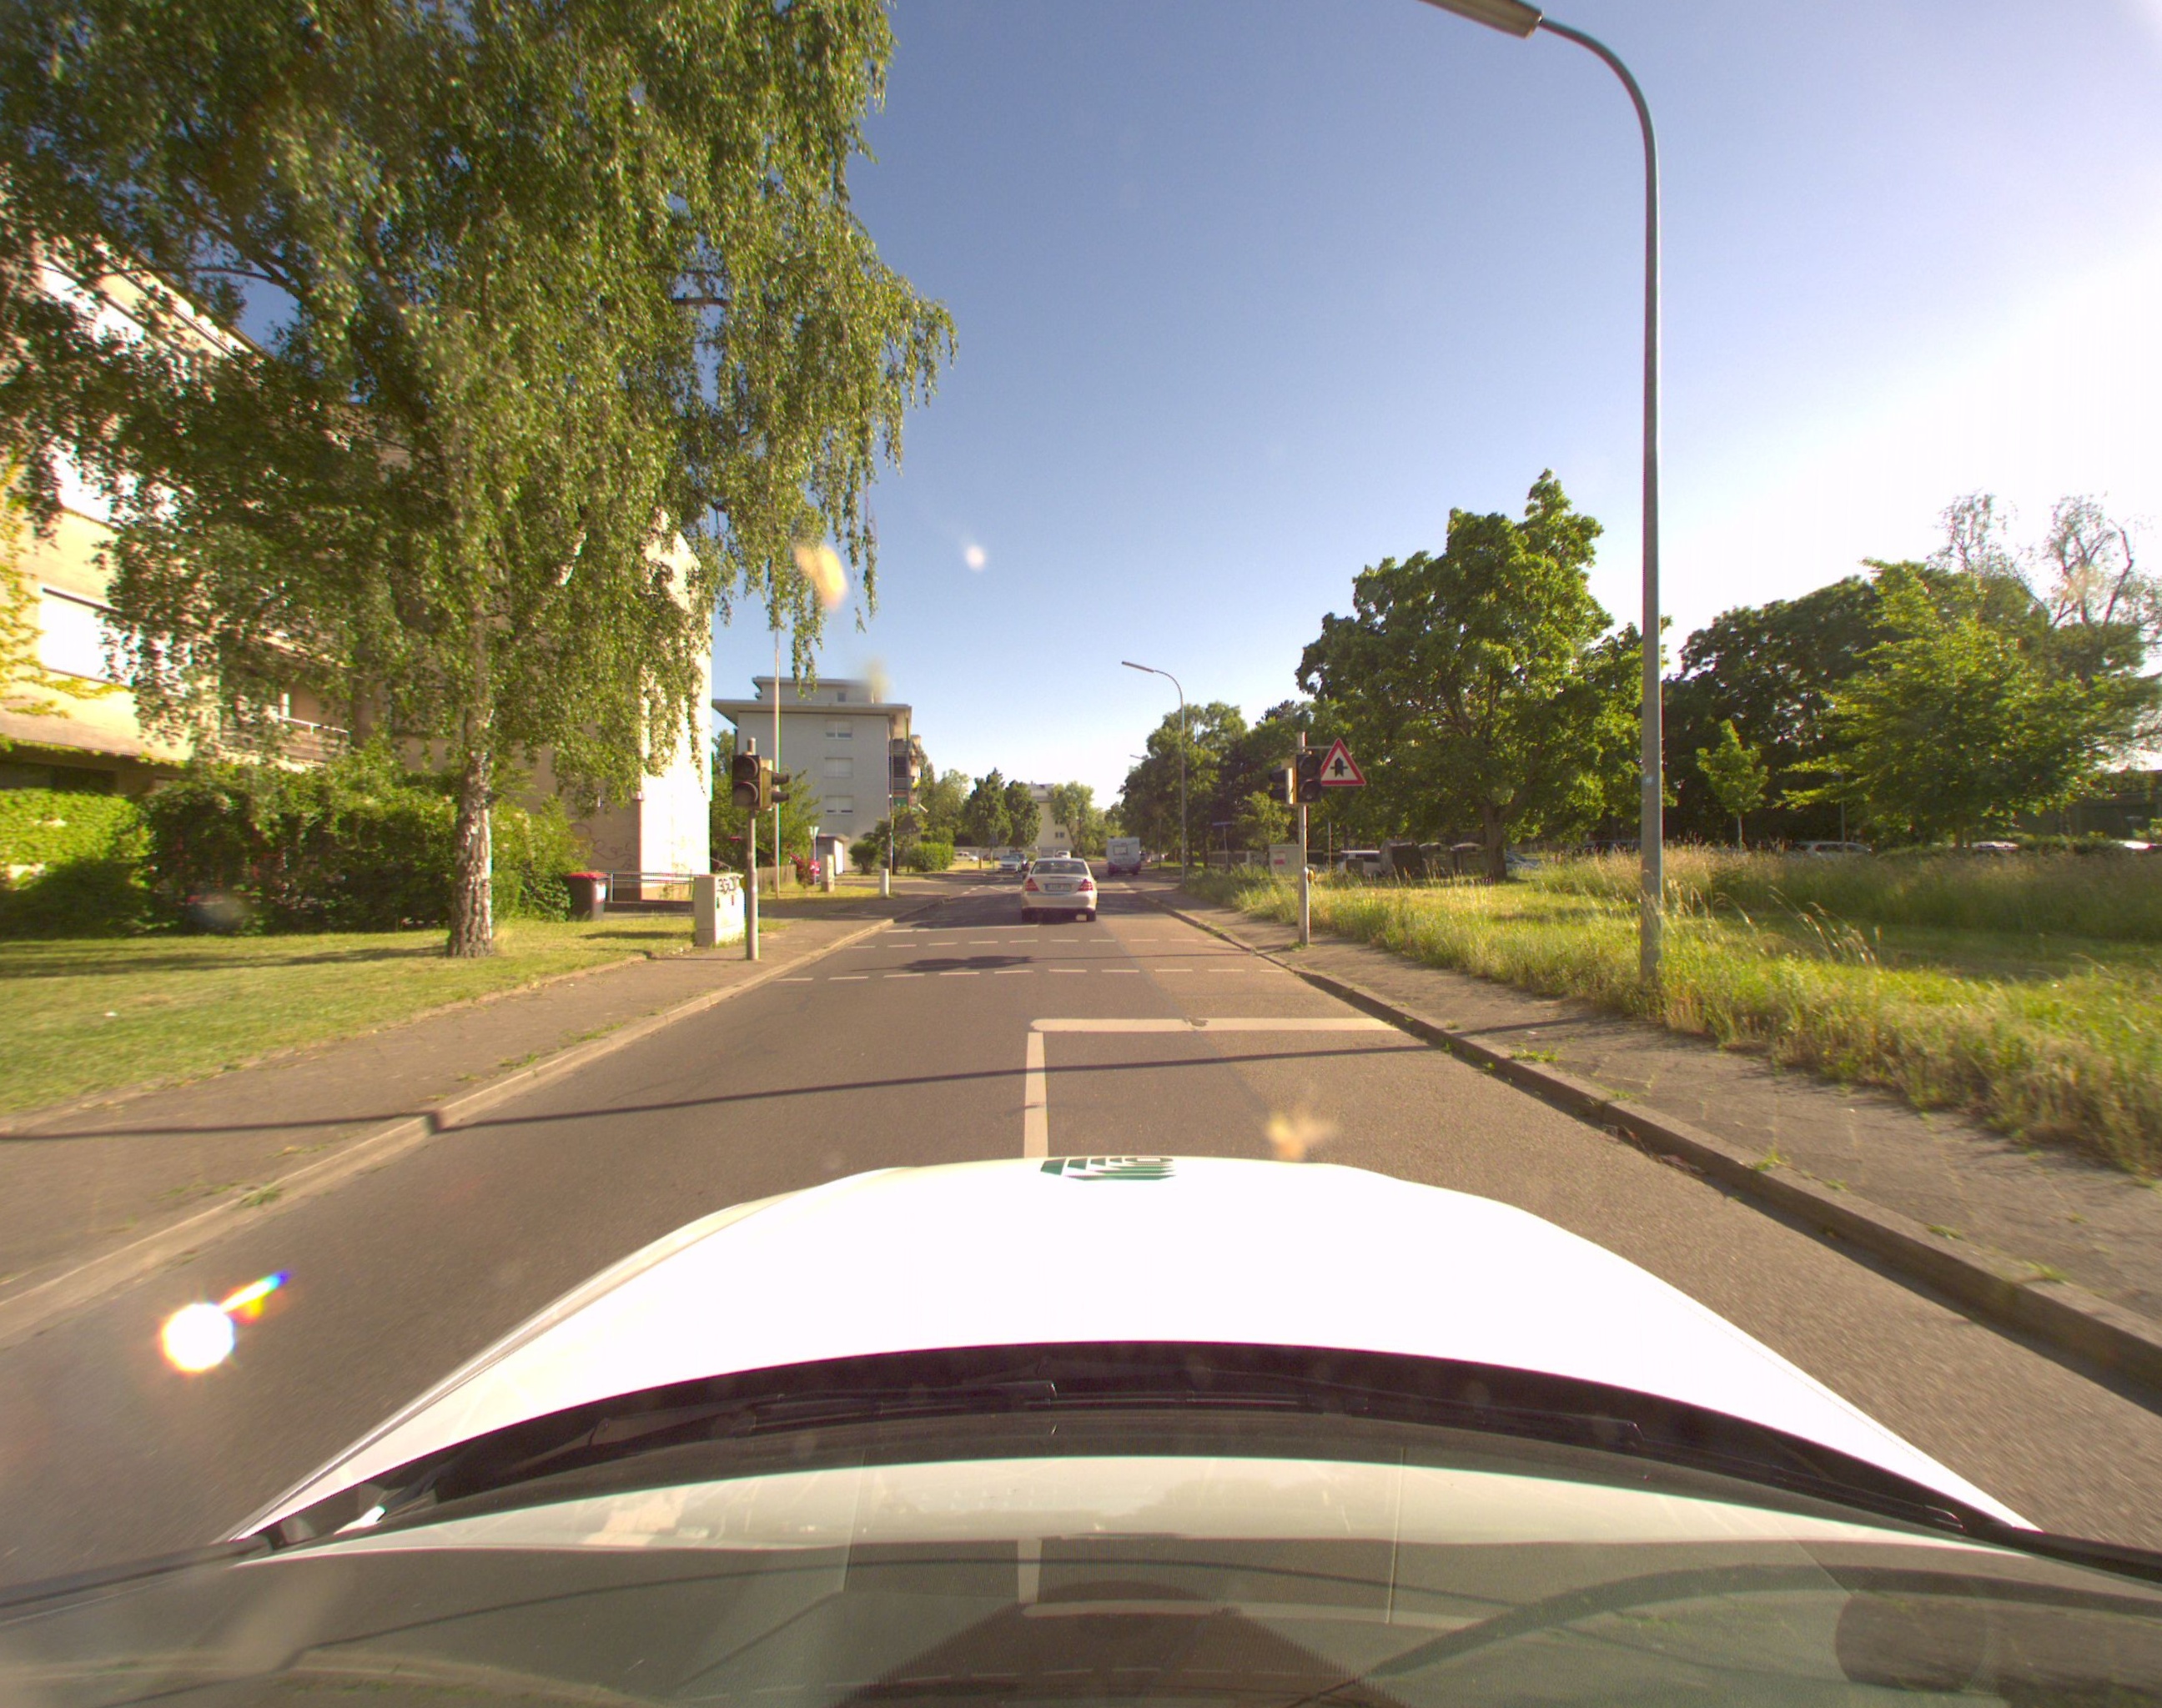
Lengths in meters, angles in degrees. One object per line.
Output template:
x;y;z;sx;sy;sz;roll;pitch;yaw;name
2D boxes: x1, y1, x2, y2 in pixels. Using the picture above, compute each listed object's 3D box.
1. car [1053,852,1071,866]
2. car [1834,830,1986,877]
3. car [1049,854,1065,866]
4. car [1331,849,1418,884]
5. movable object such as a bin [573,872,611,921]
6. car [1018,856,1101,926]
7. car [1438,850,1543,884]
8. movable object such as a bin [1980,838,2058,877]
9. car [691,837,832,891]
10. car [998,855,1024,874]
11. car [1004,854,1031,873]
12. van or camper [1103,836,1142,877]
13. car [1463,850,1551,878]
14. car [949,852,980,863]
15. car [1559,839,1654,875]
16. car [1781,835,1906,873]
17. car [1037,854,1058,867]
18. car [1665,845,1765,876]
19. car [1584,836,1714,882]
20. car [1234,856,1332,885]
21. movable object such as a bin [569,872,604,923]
-2.793;0.754;121.379;2.005;1.885;5.198;1;0;5;car
37.745;-0.026;37.197;4.480;2.012;2.170;-1;0;7;car
-3.381;0.843;114.900;1.824;1.518;4.227;1;0;5;car
14.156;0.587;39.426;3.665;1.578;1.831;-1;0;6;car
-10.803;0.927;18.010;0.629;1.048;0.697;-1;-1;-25;movable object such as a bin
-0.540;0.787;19.005;1.729;1.434;3.434;-1;0;-3;car
19.435;0.598;38.787;4.083;1.541;1.976;0;1;4;car
37.053;0.134;32.190;1.389;1.509;1.530;-1;0;-14;movable object such as a bin
-15.457;0.456;39.709;5.889;2.428;2.212;-1;1;-2;car
-5.758;0.860;67.016;1.640;1.466;4.332;0;0;2;car
-5.679;0.810;73.305;1.908;1.604;4.811;2;0;0;car
2.879;0.149;58.085;2.344;2.596;6.426;-4;0;1;van or camper
23.155;0.514;44.339;3.850;1.396;1.788;-1;2;2;car
-20.691;0.604;144.805;5.072;1.951;2.244;-1;0;11;car
28.408;0.173;44.124;3.843;1.851;2.005;-1;0;9;car
39.753;0.002;42.549;4.430;1.807;2.004;-1;0;6;car
-4.208;0.781;102.088;2.026;1.493;5.262;2;0;4;car
33.961;0.343;43.699;3.852;1.611;2.000;-1;0;0;car
26.651;0.230;38.346;4.480;2.012;2.278;-1;0;7;car
9.776;0.776;39.595;4.406;1.337;1.748;0;1;3;car
-10.562;0.926;17.418;0.565;1.053;0.552;-1;-1;-24;movable object such as a bin
